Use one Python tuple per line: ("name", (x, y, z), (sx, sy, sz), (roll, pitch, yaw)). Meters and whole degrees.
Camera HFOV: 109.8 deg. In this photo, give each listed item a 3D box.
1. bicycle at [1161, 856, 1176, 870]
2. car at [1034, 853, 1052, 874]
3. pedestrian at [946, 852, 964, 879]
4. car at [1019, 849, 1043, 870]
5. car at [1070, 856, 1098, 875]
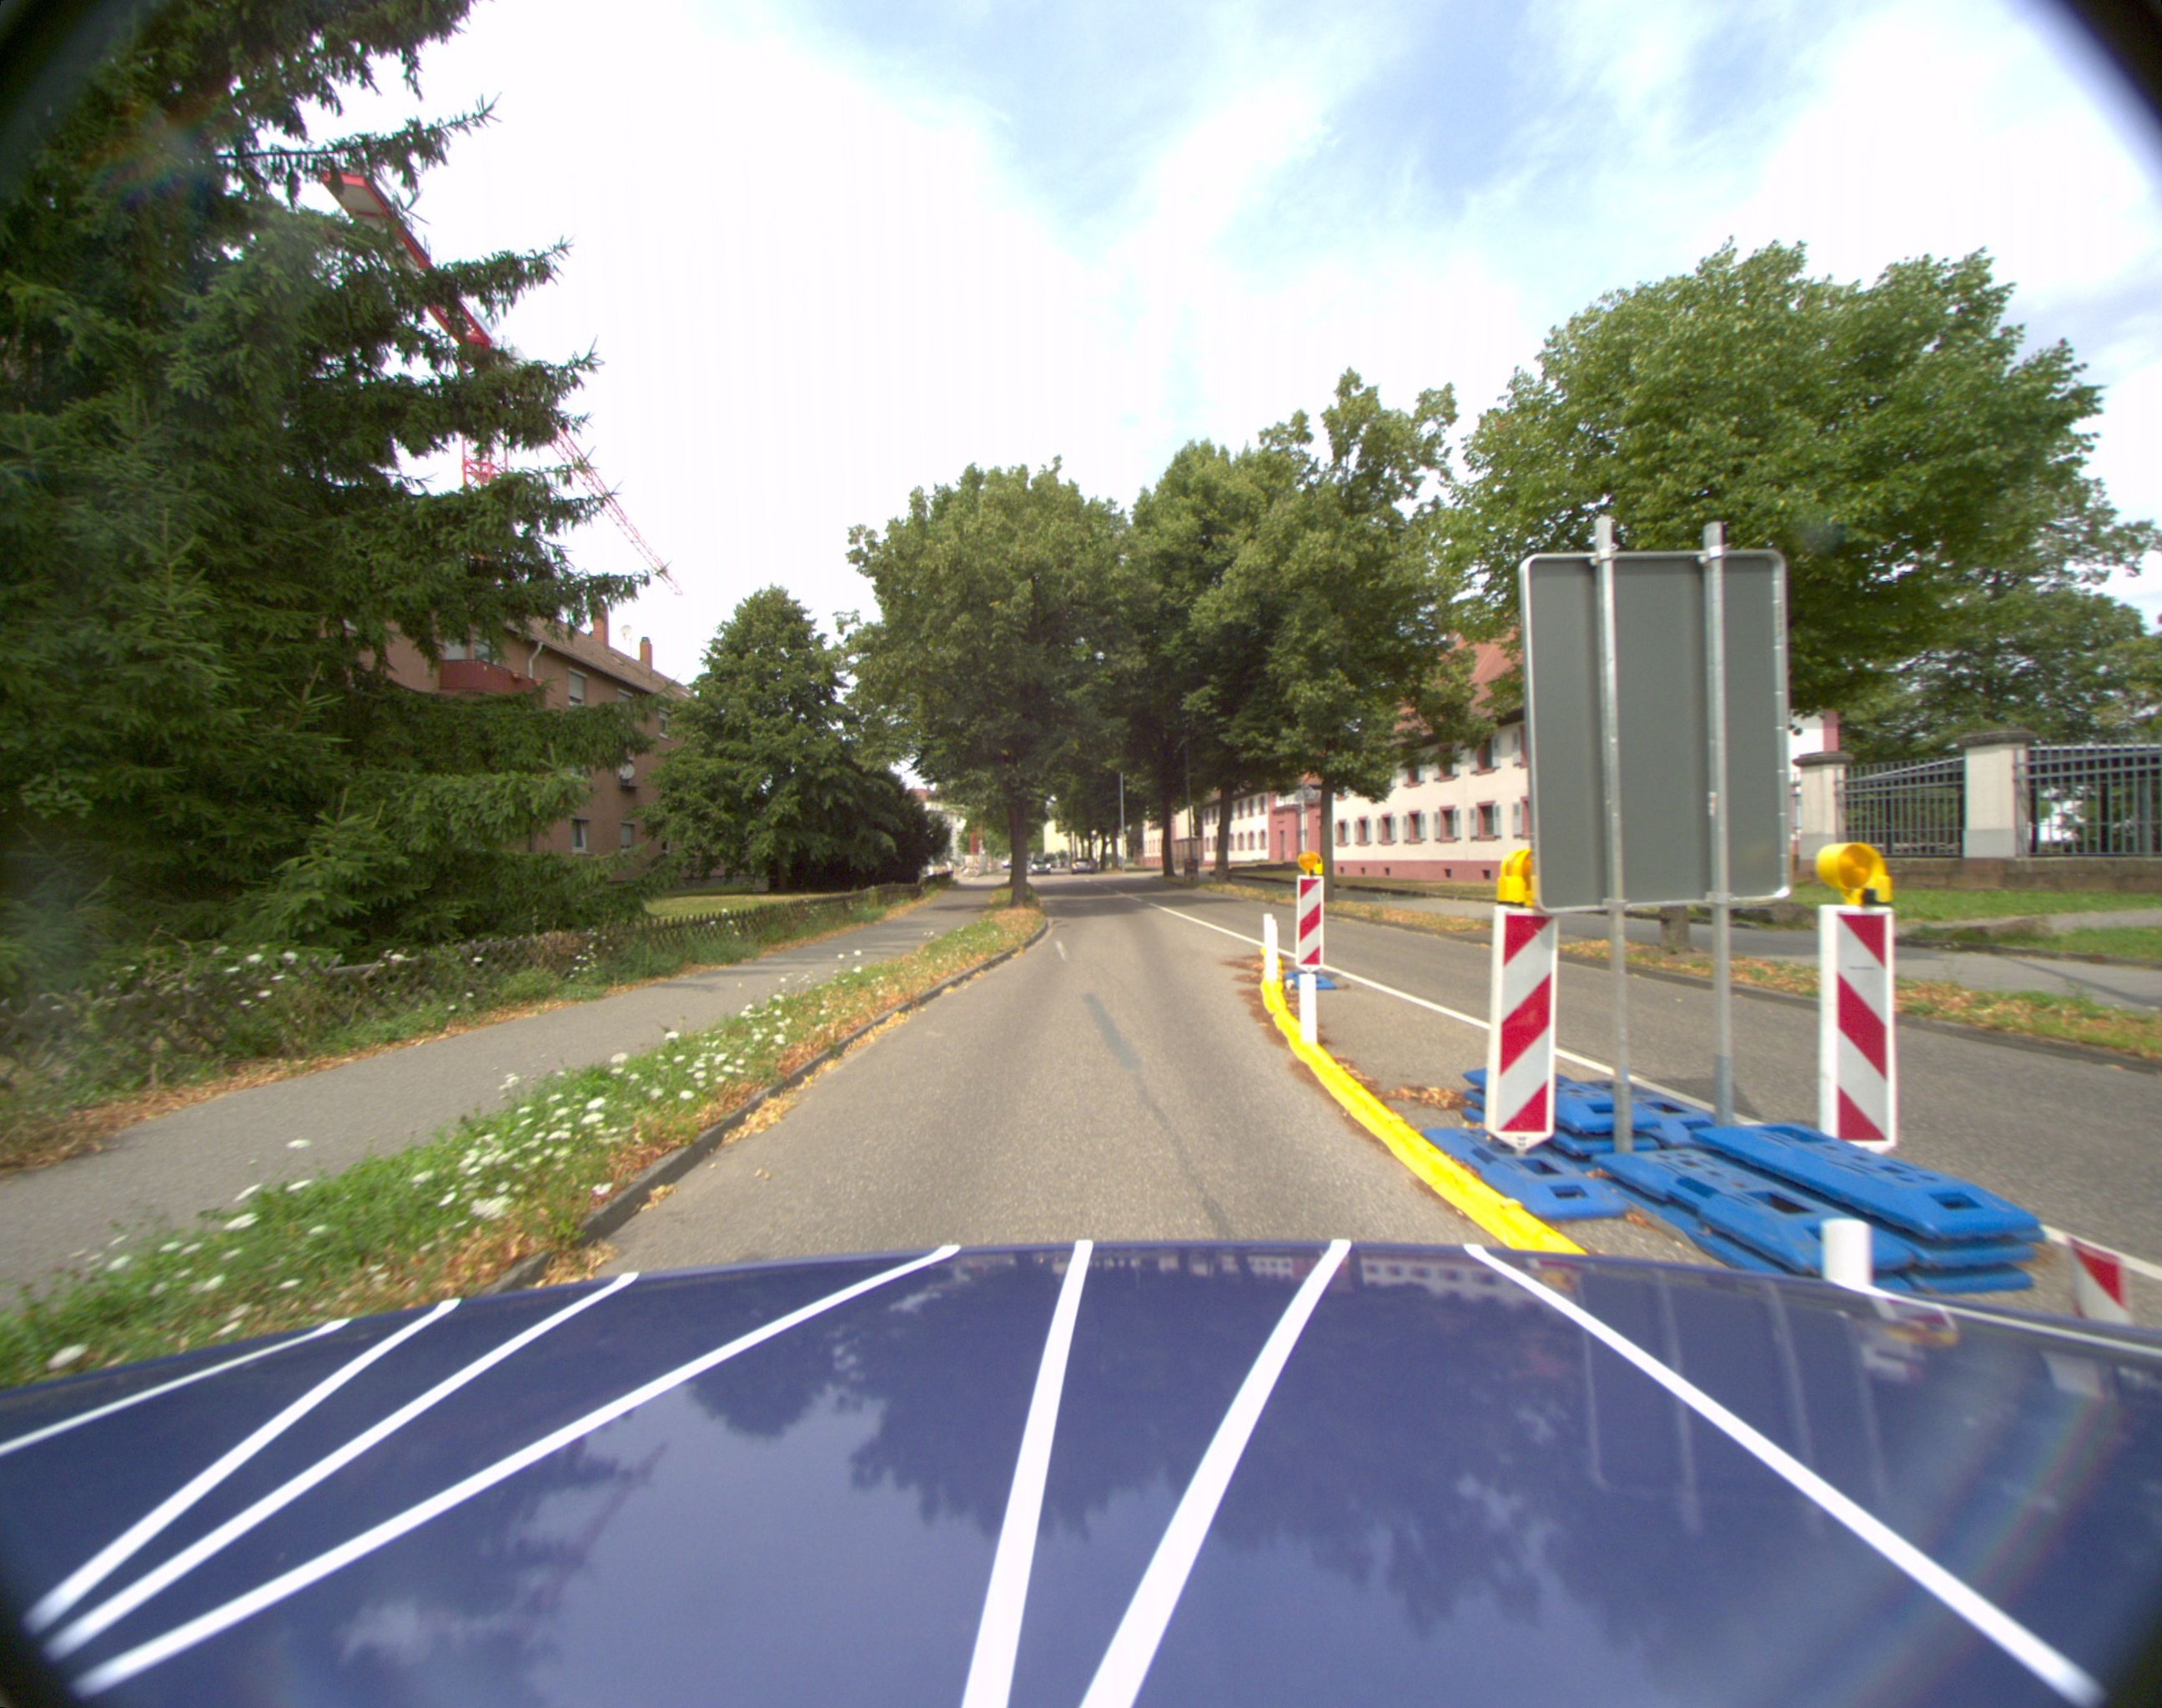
("bicycle", (7.282, 0.726, 63.019), (0.725, 1.088, 2.224), (-5, 0, -5))
("car", (-3.642, 0.971, 73.481), (1.677, 1.710, 4.388), (0, -4, -2))
("pedestrian", (-8.456, 0.790, 50.985), (0.883, 1.803, 0.890), (0, 0, 14))
("car", (-4.863, 0.533, 73.165), (2.000, 2.002, 3.997), (-1, 0, -8))
("car", (0.183, 0.979, 62.659), (2.010, 1.433, 4.386), (0, -3, -4))
